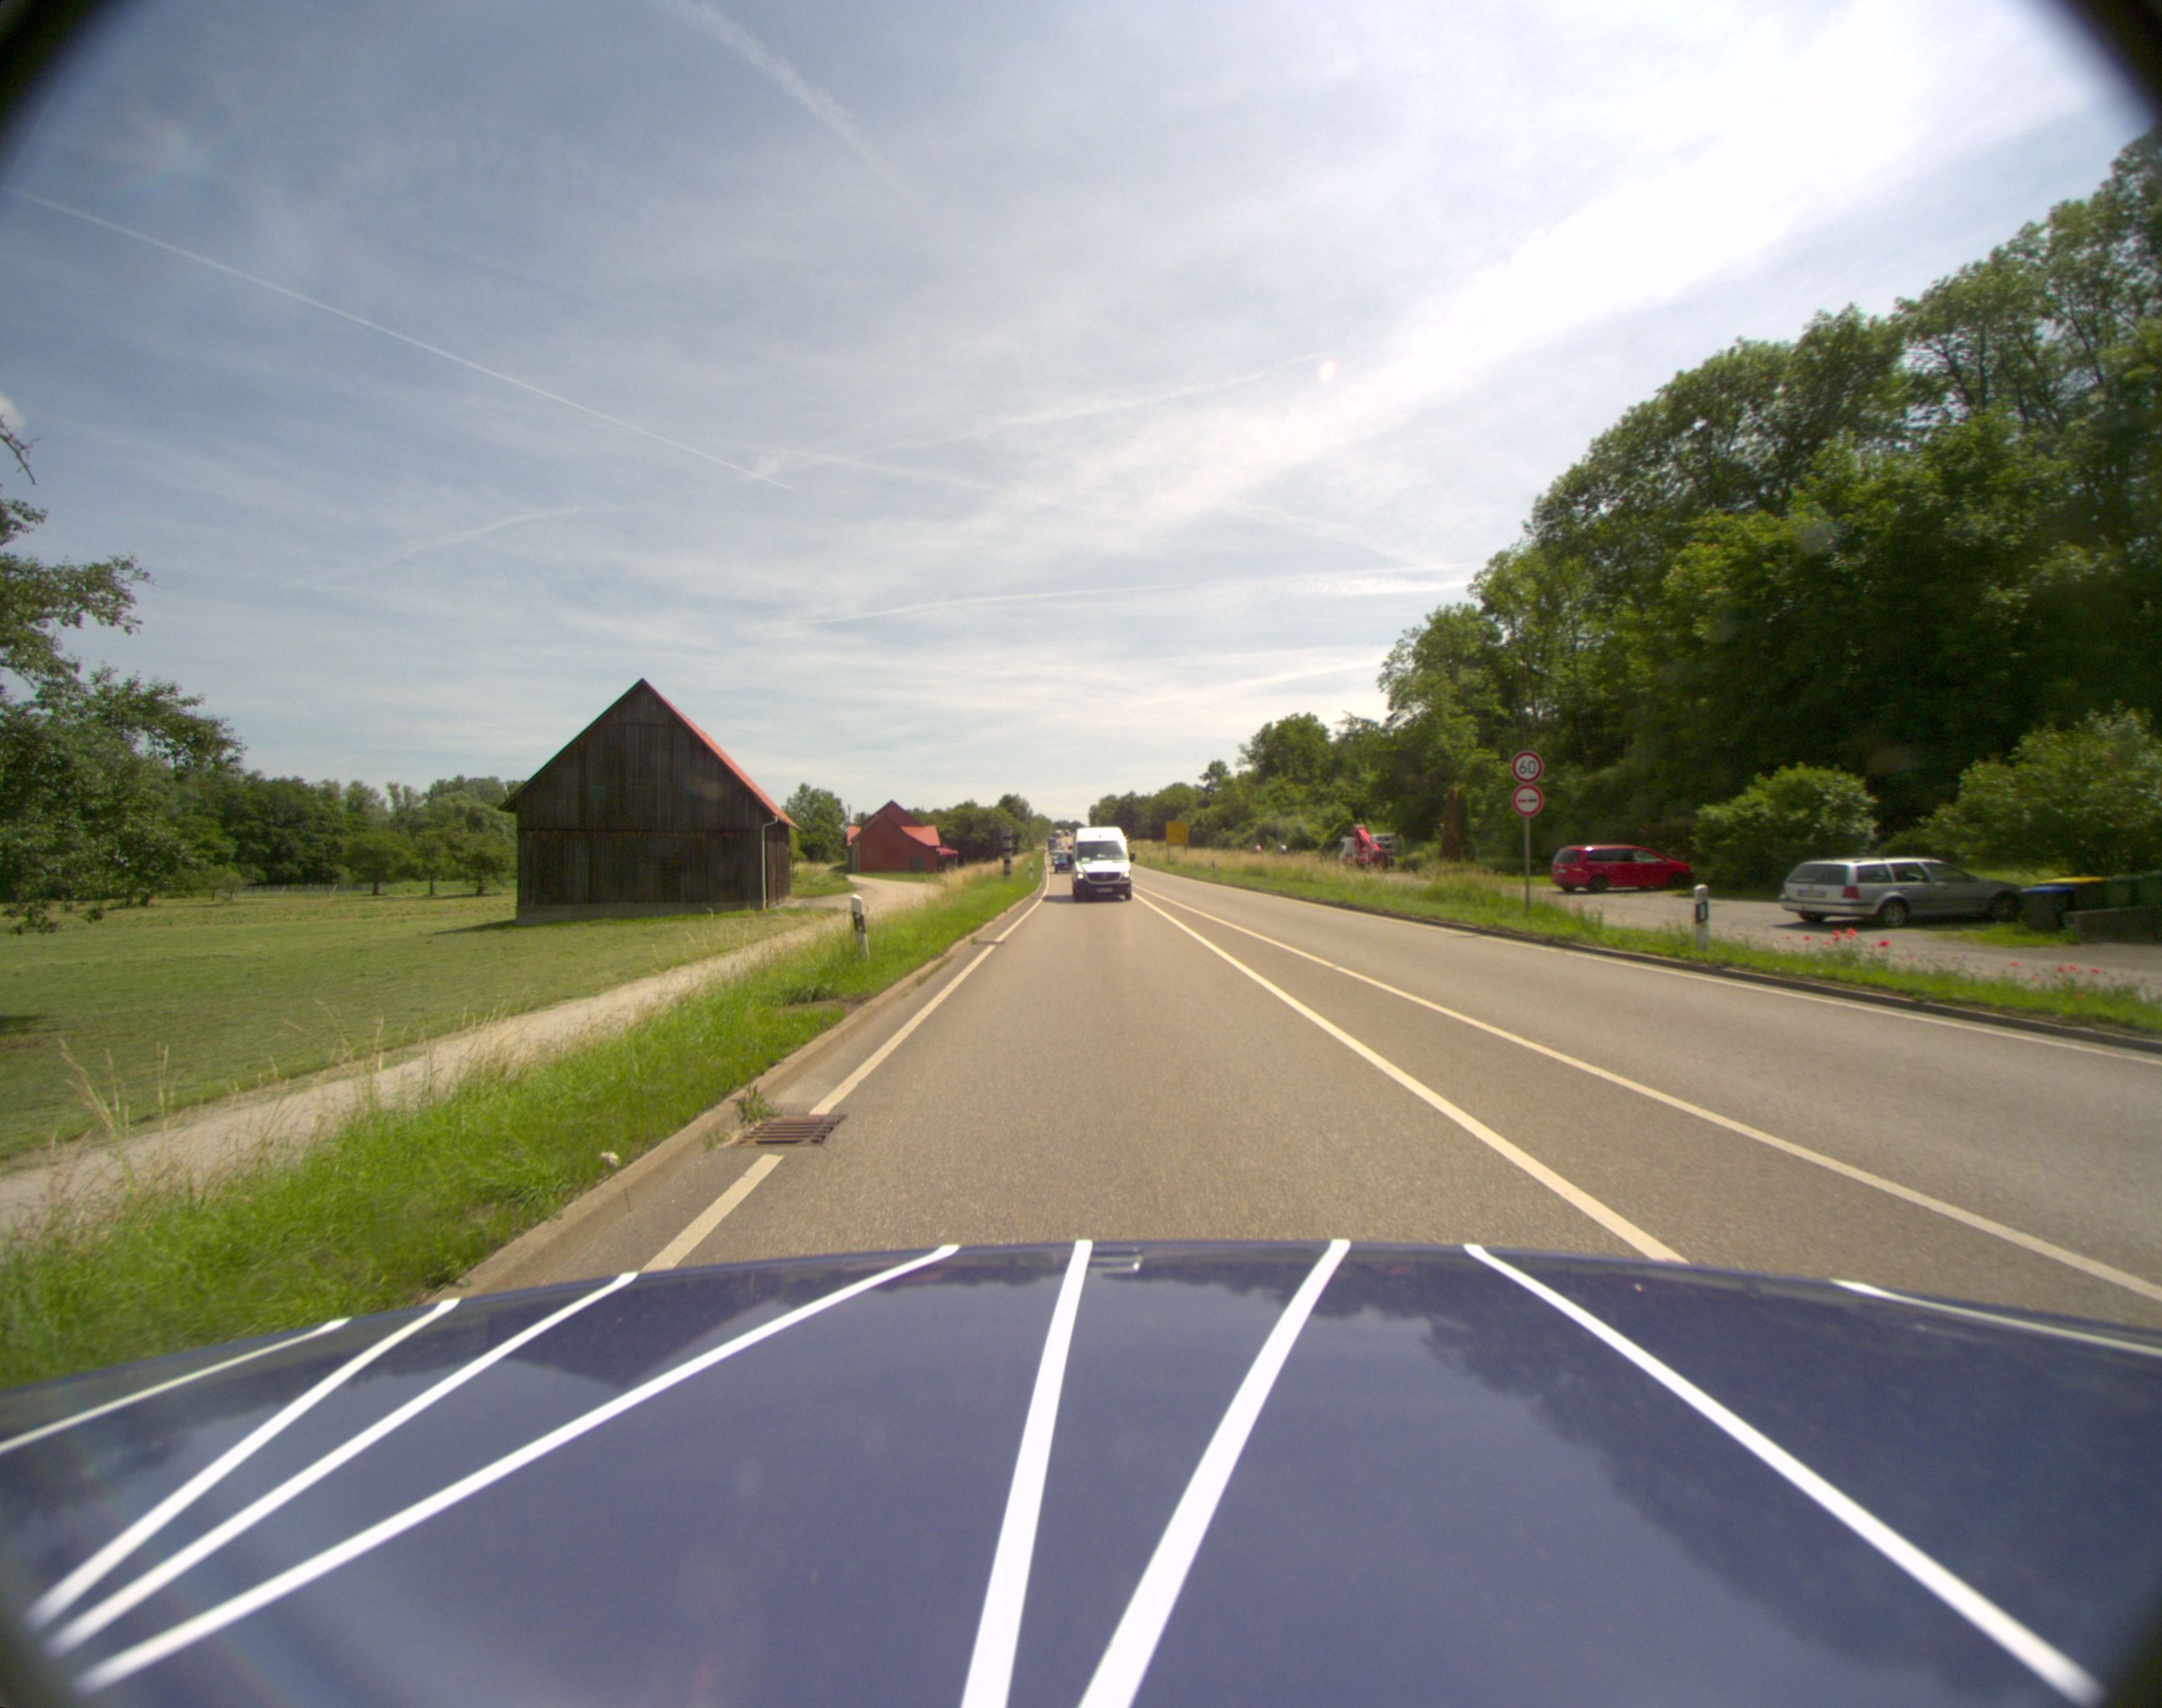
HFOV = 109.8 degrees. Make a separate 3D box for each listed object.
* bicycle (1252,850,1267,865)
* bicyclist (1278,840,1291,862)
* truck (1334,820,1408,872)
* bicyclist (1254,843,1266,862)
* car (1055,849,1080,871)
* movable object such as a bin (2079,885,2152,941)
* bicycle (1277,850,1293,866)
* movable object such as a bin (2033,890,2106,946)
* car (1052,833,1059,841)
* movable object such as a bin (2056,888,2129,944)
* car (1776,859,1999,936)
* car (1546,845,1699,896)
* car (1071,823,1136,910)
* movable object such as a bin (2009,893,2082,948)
[{"bbox_3d":[15.141,0.270,64.333,0.750,1.205,2.104,-2,1,1],"label":"bicycle"},{"bbox_3d":[16.142,-0.209,60.169,0.750,1.704,0.936,-2,1,3],"label":"bicyclist"},{"bbox_3d":[18.026,-0.492,47.647,2.031,2.946,6.773,-2,1,1],"label":"truck"},{"bbox_3d":[15.118,-0.139,64.278,0.750,1.586,0.936,-2,1,1],"label":"bicyclist"},{"bbox_3d":[-1.034,0.520,60.439,1.848,1.692,4.243,-1,-1,0],"label":"car"},{"bbox_3d":[19.407,1.097,14.265,0.505,0.971,0.654,-2,2,-8],"label":"movable object such as a bin"},{"bbox_3d":[16.165,0.302,60.203,0.750,1.174,2.105,-2,1,3],"label":"bicycle"},{"bbox_3d":[18.304,1.175,14.081,0.505,0.964,0.654,-2,2,-8],"label":"movable object such as a bin"},{"bbox_3d":[-7.662,-5.029,227.900,1.998,2.166,4.000,-2,0,1],"label":"car"},{"bbox_3d":[18.873,1.141,14.190,0.505,0.965,0.654,-2,2,-8],"label":"movable object such as a bin"},{"bbox_3d":[17.612,0.900,16.677,3.387,1.457,1.609,-2,1,-6],"label":"car"},{"bbox_3d":[18.875,0.546,26.610,4.037,1.609,1.833,-2,1,1],"label":"car"},{"bbox_3d":[0.724,0.369,26.737,1.960,2.655,5.680,-2,1,0],"label":"car"},{"bbox_3d":[17.772,1.219,14.011,0.505,0.931,0.654,-2,2,-8],"label":"movable object such as a bin"}]
